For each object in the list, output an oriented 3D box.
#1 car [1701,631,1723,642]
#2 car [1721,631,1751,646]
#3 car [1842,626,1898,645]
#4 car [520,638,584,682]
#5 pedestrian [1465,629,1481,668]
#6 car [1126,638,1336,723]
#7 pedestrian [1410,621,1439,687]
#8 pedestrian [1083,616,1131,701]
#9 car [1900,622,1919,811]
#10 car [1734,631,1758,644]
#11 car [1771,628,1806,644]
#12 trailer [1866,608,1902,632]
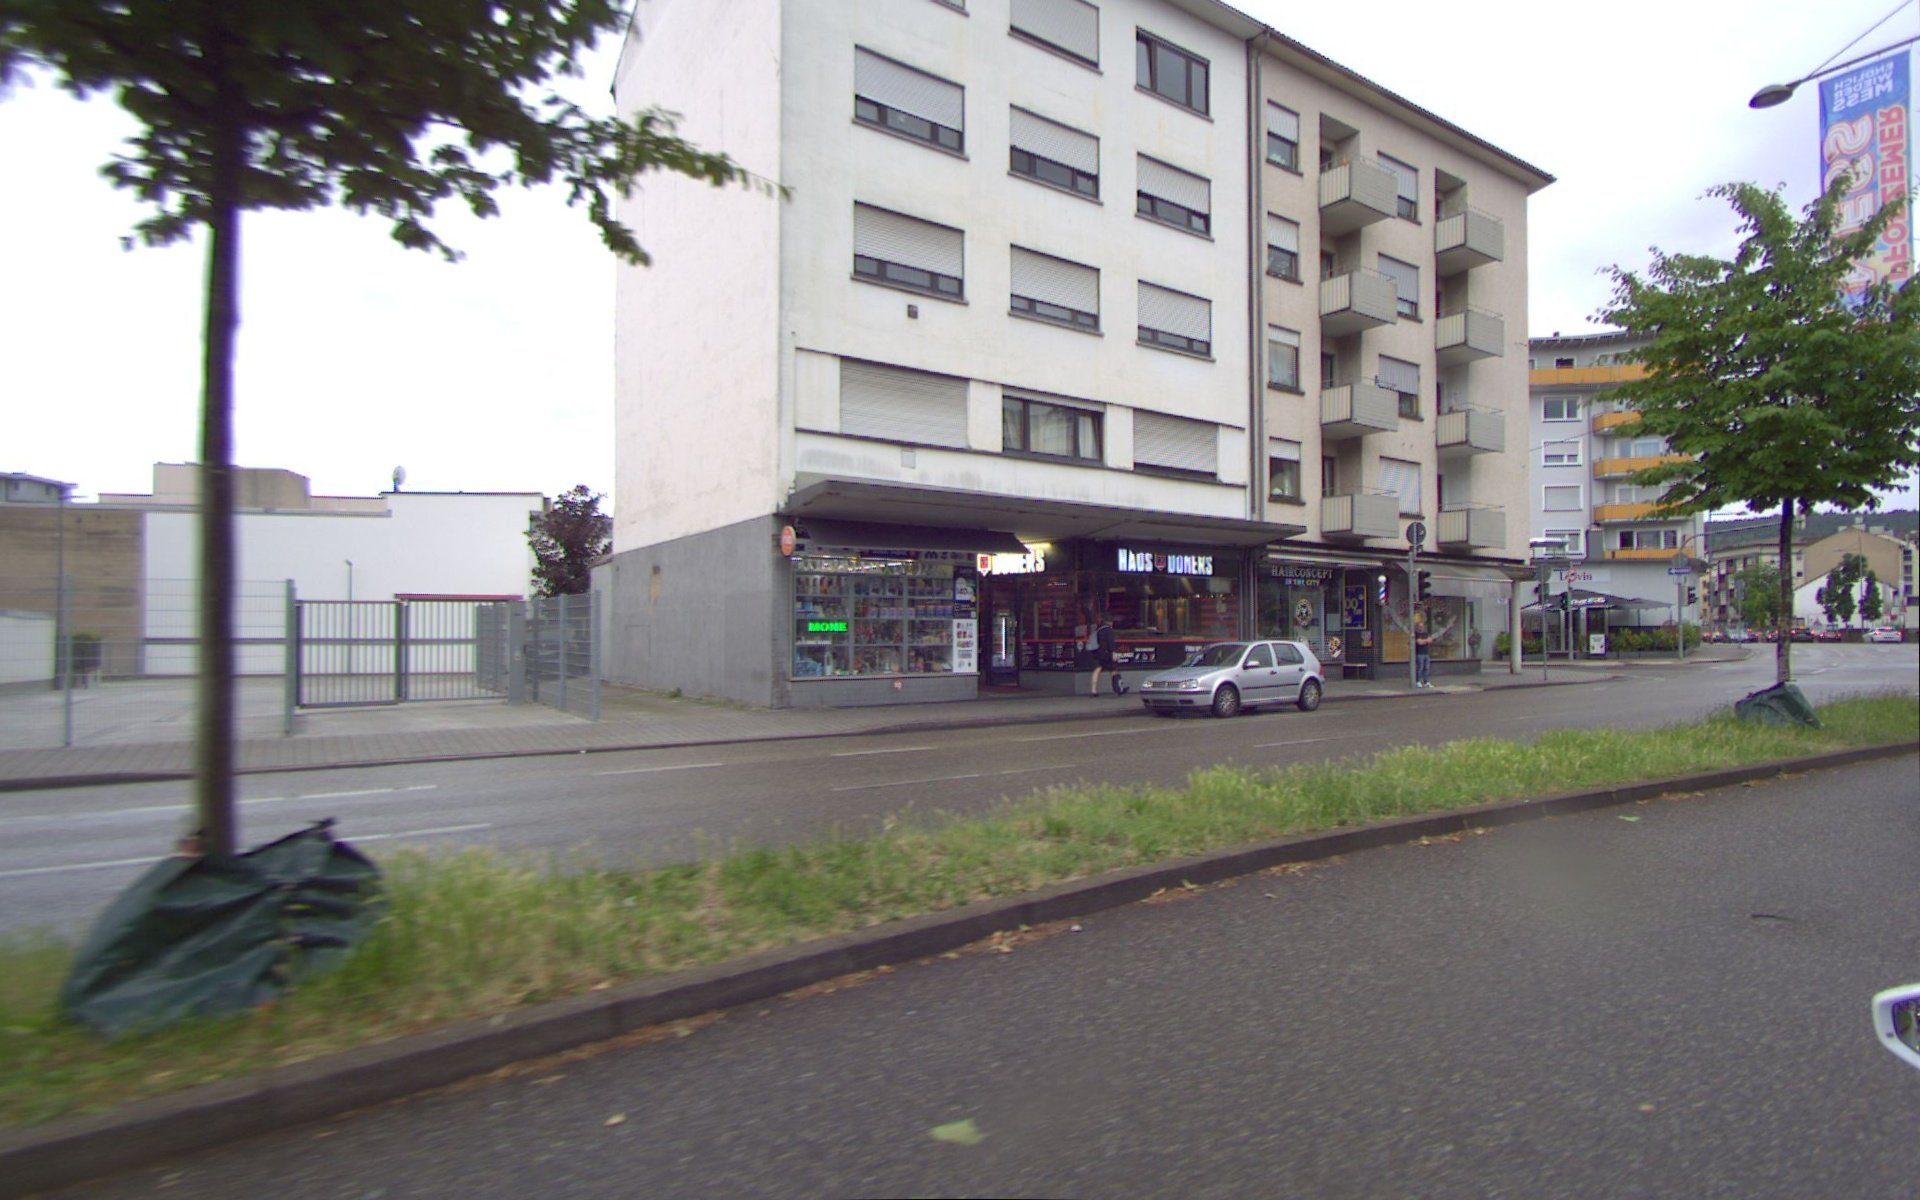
[{"bbox_3d":[103.435,5.046,138.144,1.924,1.415,3.859,-2,-1,30],"label":"car"},{"bbox_3d":[79.661,3.955,103.119,1.707,1.458,4.406,-2,-3,29],"label":"car"},{"bbox_3d":[73.002,2.807,80.651,1.636,1.415,3.869,-1,-1,14],"label":"car"},{"bbox_3d":[-12.898,1.843,31.651,1.684,1.283,3.747,0,-2,-25],"label":"car"},{"bbox_3d":[22.446,2.113,43.975,0.517,1.672,0.603,1,-2,19],"label":"pedestrian"},{"bbox_3d":[5.316,1.515,19.525,4.110,1.410,1.666,0,-4,-35],"label":"car"},{"bbox_3d":[12.668,1.472,27.396,0.518,1.754,0.450,0,2,-30],"label":"pedestrian"},{"bbox_3d":[3.146,1.240,21.576,0.653,1.753,0.773,0,2,-31],"label":"pedestrian"},{"bbox_3d":[9.625,0.923,8.197,4.347,1.453,1.790,1,-1,-32],"label":"car"},{"bbox_3d":[91.529,4.383,116.974,1.641,1.415,3.859,-2,-1,30],"label":"car"},{"bbox_3d":[77.756,3.370,94.279,1.639,1.415,3.863,-1,-1,26],"label":"car"},{"bbox_3d":[111.477,2.461,121.222,2.098,2.751,5.378,-4,-4,32],"label":"trailer"}]
